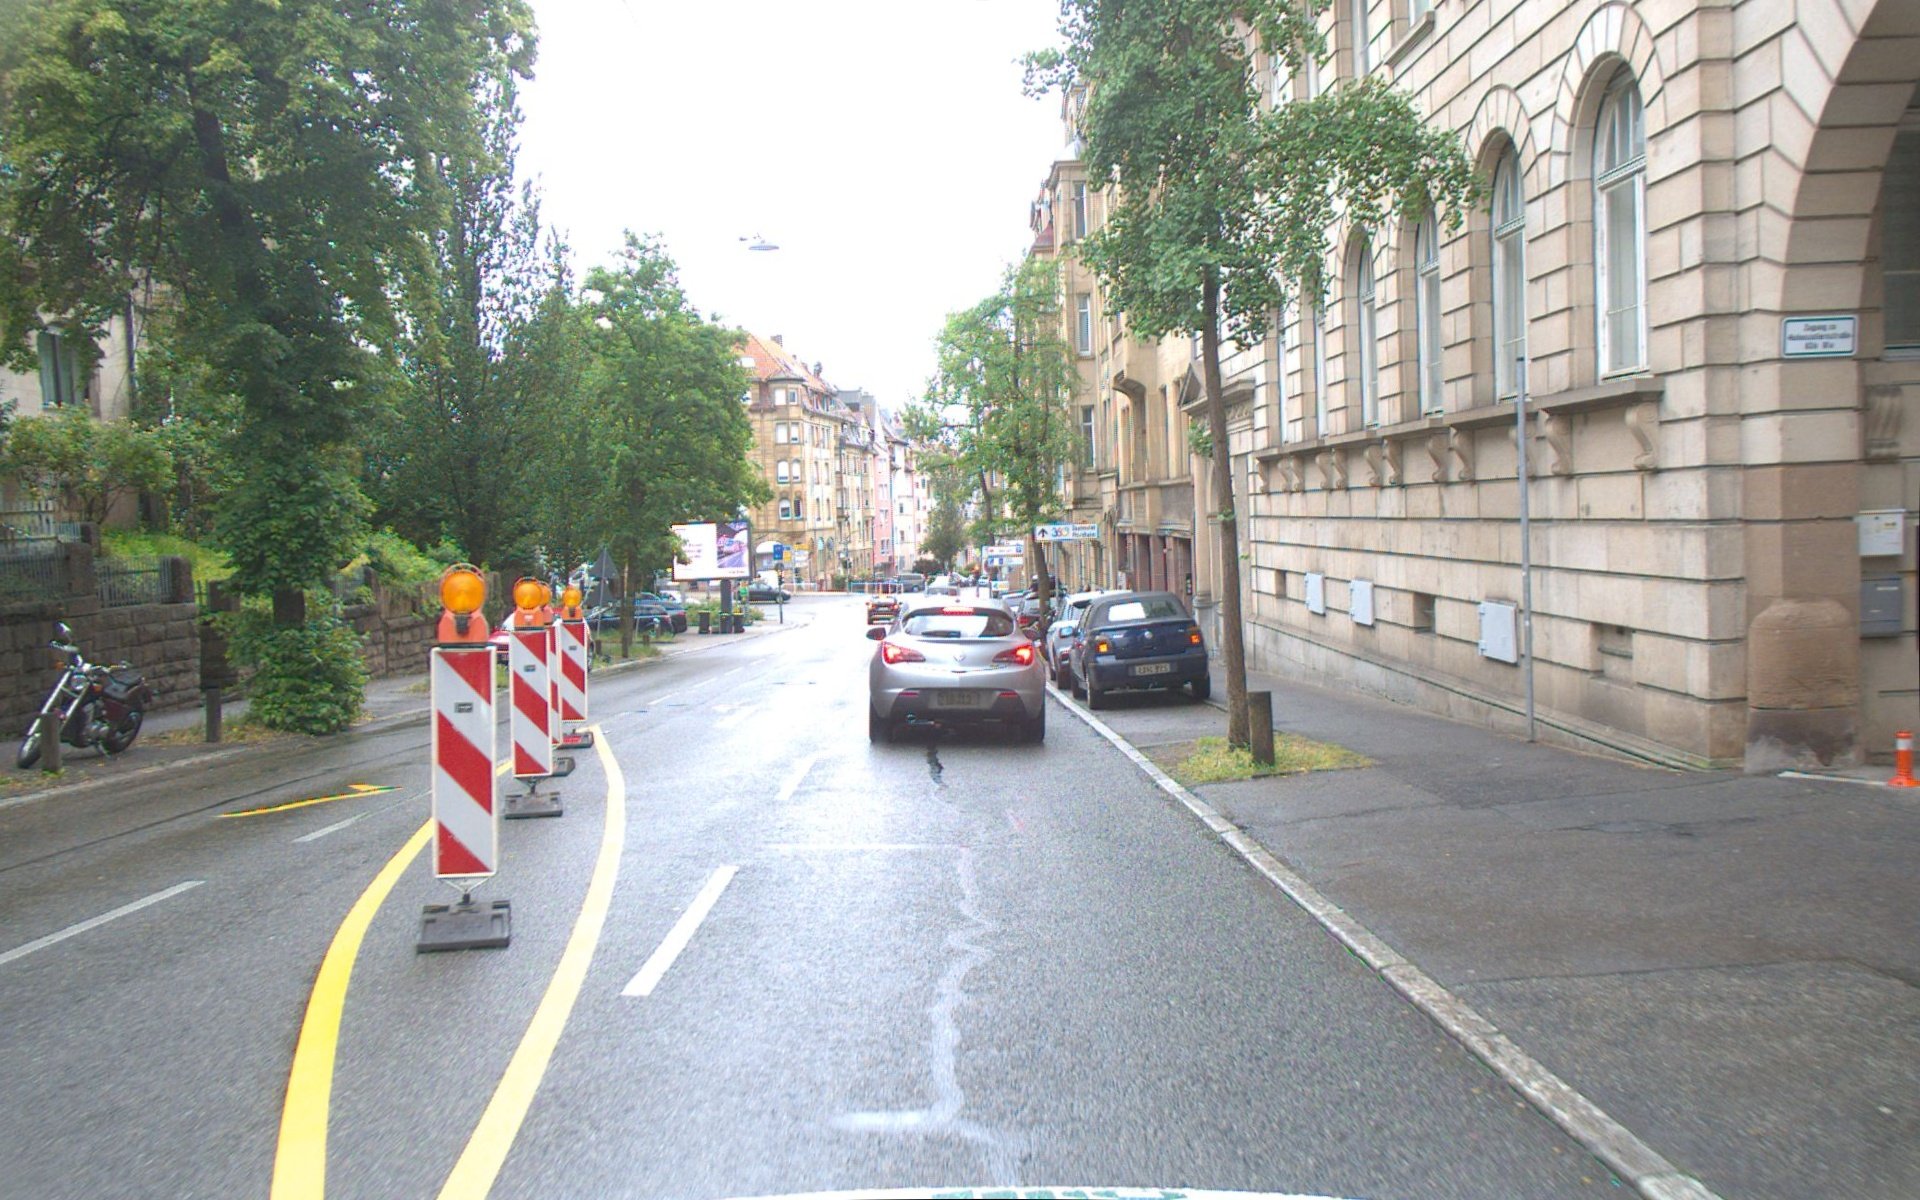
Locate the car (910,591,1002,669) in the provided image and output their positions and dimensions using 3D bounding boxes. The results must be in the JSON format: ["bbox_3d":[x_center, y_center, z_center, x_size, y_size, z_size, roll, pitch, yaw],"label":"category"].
[{"bbox_3d":[-0.145,0.583,34.822,1.737,1.531,3.867,0,1,-3],"label":"car"}]

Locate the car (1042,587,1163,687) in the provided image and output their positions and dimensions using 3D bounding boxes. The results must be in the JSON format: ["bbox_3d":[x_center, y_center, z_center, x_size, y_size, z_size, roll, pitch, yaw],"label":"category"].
[{"bbox_3d":[2.308,0.561,27.602,1.604,1.494,3.857,-2,0,-1],"label":"car"}]

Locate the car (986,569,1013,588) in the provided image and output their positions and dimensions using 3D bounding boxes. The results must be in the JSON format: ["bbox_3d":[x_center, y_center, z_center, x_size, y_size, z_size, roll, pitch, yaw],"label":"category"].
[{"bbox_3d":[3.740,-2.012,156.167,1.951,1.713,4.003,1,0,9],"label":"car"}]

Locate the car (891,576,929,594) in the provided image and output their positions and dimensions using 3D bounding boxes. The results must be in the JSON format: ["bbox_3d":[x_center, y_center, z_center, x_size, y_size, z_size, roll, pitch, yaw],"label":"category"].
[{"bbox_3d":[-5.174,-1.581,171.013,3.906,1.780,1.999,1,0,-1],"label":"car"}]

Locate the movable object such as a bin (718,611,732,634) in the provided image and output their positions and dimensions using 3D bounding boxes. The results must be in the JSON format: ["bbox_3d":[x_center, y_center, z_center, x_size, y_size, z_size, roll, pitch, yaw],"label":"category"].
[{"bbox_3d":[-11.252,1.095,79.072,0.613,1.077,0.719,1,-1,-7],"label":"movable object such as a bin"}]

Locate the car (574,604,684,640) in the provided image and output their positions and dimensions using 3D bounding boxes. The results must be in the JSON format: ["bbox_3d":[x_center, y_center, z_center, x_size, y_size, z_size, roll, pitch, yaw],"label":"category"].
[{"bbox_3d":[-13.589,0.895,67.861,4.246,1.265,1.633,-2,0,-20],"label":"car"}]

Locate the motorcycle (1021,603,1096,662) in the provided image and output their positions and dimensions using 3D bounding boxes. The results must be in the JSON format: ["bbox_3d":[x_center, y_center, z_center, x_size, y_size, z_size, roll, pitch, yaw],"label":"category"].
[{"bbox_3d":[2.154,0.701,36.050,0.645,1.257,1.973,0,-1,38],"label":"motorcycle"}]

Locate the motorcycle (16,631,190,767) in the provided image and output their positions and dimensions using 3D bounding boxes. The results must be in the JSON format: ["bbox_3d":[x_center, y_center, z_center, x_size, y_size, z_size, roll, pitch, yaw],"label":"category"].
[{"bbox_3d":[-9.241,1.032,17.942,0.750,1.369,2.202,0,-1,-1],"label":"motorcycle"}]

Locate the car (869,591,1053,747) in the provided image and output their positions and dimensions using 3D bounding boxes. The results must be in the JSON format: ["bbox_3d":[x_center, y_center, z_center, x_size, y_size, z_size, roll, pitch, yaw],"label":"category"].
[{"bbox_3d":[-0.048,0.657,17.964,1.774,1.475,3.868,0,1,-2],"label":"car"}]

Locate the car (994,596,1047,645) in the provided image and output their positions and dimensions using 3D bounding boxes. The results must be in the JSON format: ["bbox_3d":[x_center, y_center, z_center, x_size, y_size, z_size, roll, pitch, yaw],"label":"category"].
[{"bbox_3d":[2.061,0.689,57.193,1.604,1.551,3.857,-2,0,-1],"label":"car"}]

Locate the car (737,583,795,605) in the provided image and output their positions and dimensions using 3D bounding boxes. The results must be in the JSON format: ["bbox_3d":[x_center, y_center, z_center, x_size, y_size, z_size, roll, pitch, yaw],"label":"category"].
[{"bbox_3d":[-14.527,-0.420,123.789,4.142,1.612,1.939,0,0,-1],"label":"car"}]

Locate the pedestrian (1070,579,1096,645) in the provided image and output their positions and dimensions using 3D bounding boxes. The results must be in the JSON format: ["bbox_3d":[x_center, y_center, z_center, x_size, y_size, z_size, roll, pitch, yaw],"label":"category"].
[{"bbox_3d":[3.571,0.339,47.929,0.701,1.903,0.635,0,-1,-1],"label":"pedestrian"}]

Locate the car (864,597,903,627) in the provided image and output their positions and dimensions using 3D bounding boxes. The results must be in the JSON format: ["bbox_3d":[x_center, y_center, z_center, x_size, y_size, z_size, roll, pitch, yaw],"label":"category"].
[{"bbox_3d":[-4.078,0.654,88.779,1.953,1.527,3.999,-1,0,-1],"label":"car"}]

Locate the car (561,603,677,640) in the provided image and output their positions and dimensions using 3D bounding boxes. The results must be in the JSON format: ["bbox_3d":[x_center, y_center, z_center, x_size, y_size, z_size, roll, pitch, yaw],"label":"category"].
[{"bbox_3d":[-13.381,0.815,64.872,4.246,1.265,1.633,-2,0,-20],"label":"car"}]

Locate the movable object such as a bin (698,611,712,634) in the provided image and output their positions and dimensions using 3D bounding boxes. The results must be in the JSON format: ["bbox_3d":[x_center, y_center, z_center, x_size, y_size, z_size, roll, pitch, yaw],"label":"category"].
[{"bbox_3d":[-12.215,1.064,79.122,0.613,1.077,0.633,1,-1,-7],"label":"movable object such as a bin"}]

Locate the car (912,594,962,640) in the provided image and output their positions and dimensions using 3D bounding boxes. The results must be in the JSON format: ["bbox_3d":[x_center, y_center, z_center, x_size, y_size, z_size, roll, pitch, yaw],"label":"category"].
[{"bbox_3d":[-0.887,0.619,61.621,1.624,1.569,3.663,-4,0,-3],"label":"car"}]

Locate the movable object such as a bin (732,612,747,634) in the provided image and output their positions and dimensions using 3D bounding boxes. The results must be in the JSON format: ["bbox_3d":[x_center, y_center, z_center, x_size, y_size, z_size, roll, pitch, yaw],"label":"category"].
[{"bbox_3d":[-10.692,1.109,80.180,0.646,1.077,0.626,1,-1,-9],"label":"movable object such as a bin"}]

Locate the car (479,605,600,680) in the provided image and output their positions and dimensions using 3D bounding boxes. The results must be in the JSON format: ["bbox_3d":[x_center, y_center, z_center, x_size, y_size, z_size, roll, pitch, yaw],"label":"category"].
[{"bbox_3d":[-9.186,0.887,36.403,1.604,1.464,4.079,-2,0,-1],"label":"car"}]

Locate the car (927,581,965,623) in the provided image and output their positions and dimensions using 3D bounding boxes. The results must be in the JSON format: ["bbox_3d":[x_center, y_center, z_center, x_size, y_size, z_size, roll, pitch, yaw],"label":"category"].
[{"bbox_3d":[-0.611,0.076,73.493,1.623,1.813,3.665,-1,0,-1],"label":"car"}]

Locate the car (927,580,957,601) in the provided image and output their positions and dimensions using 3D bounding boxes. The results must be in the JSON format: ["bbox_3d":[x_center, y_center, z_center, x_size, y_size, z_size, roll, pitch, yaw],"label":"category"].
[{"bbox_3d":[-1.608,-0.837,146.049,1.951,1.713,4.003,1,0,9],"label":"car"}]

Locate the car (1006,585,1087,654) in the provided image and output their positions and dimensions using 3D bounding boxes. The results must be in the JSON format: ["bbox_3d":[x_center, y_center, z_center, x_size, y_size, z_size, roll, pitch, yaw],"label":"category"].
[{"bbox_3d":[2.171,0.474,42.435,1.605,1.630,3.855,-2,0,-3],"label":"car"}]

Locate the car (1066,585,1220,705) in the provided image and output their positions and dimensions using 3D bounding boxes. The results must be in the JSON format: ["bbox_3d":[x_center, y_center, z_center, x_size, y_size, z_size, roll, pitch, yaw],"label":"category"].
[{"bbox_3d":[2.410,0.556,22.490,1.604,1.454,3.375,-2,0,-2],"label":"car"}]
